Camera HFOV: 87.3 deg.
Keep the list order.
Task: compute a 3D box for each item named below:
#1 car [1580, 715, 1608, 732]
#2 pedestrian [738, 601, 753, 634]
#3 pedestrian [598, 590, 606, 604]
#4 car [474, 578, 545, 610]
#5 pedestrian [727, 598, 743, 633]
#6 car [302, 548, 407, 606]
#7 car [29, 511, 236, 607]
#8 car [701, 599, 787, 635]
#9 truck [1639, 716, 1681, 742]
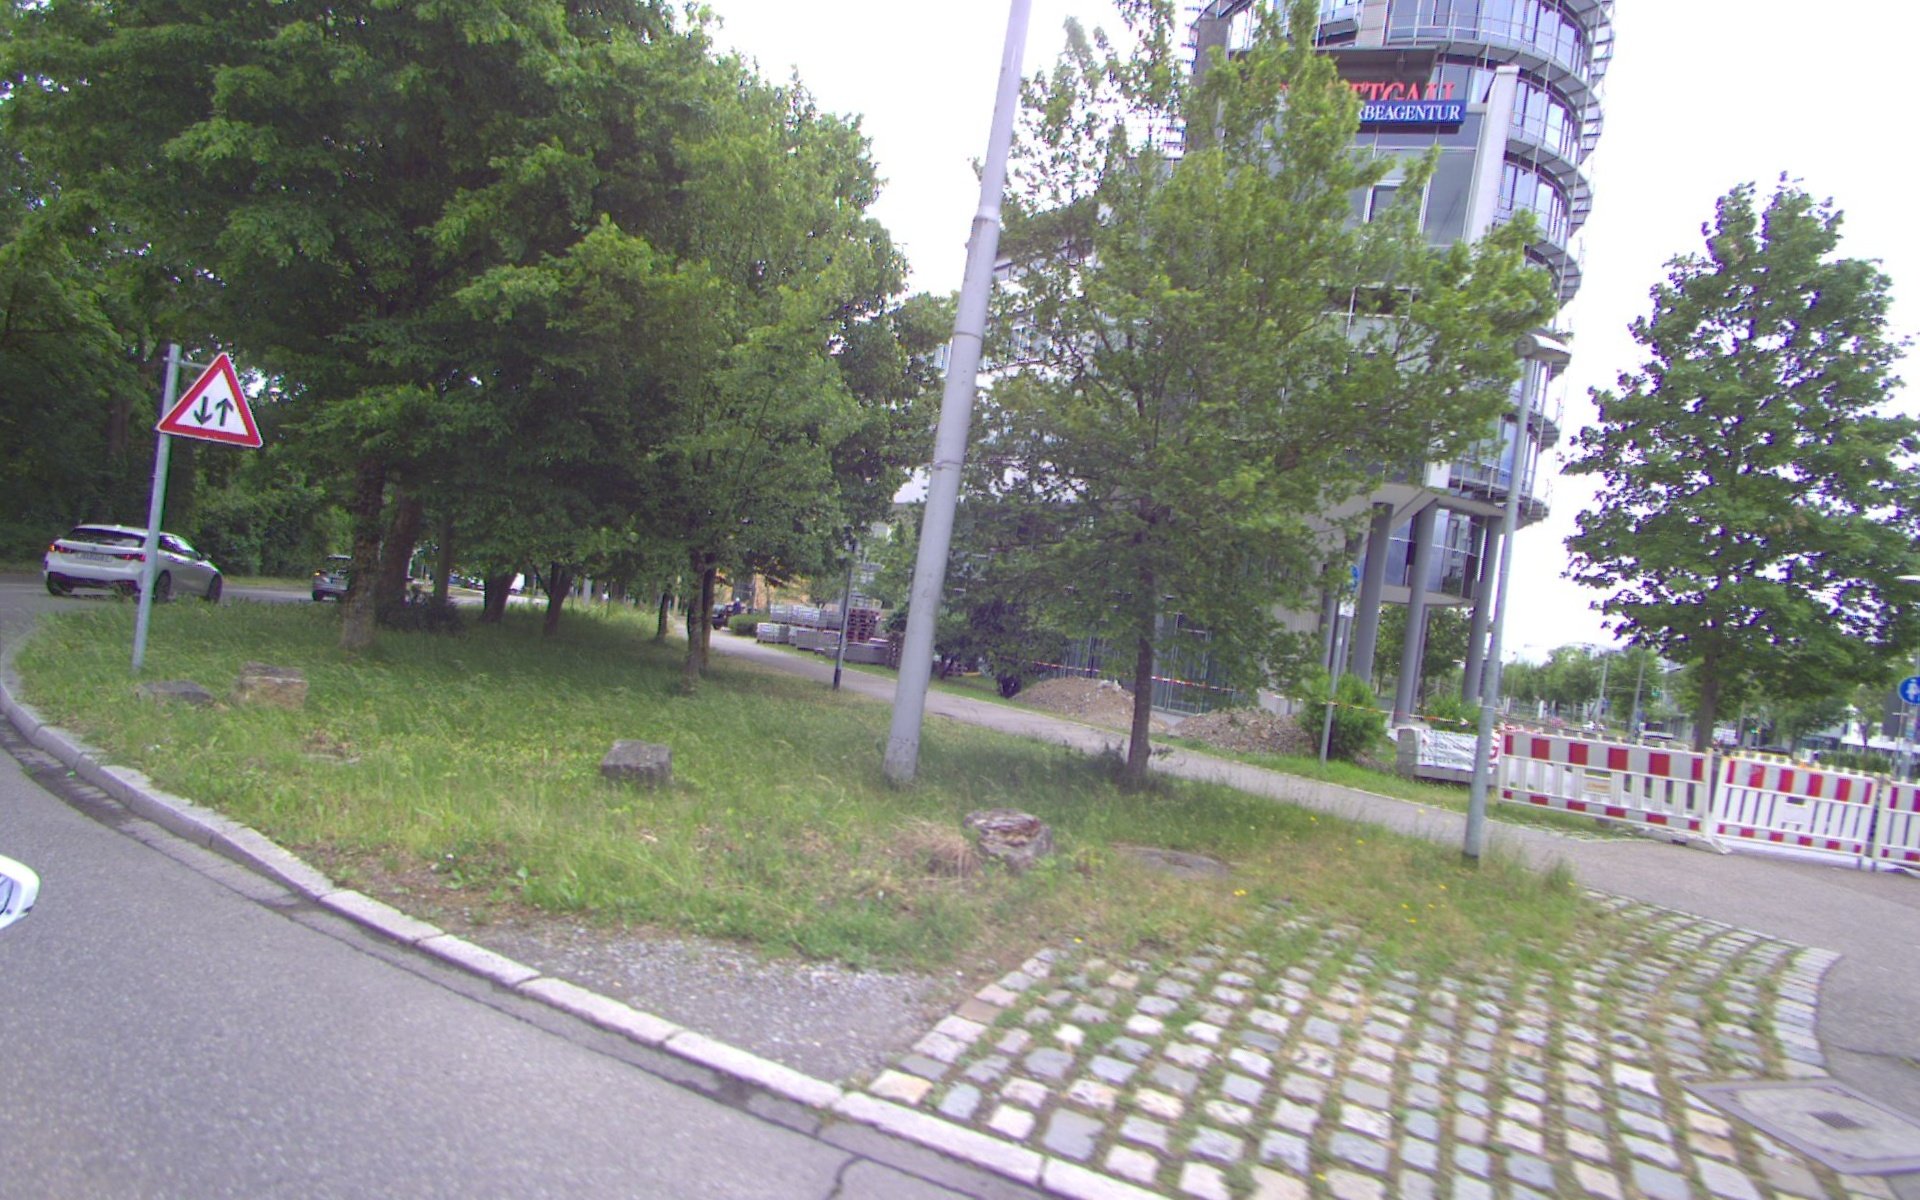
[{"bbox_3d":[82.576,16.098,131.071,1.841,1.692,3.893,9,-2,16],"label":"car"},{"bbox_3d":[-11.678,0.941,54.796,0.495,1.749,0.530,3,4,-43],"label":"pedestrian"},{"bbox_3d":[-50.031,-0.420,140.635,0.912,1.897,1.015,4,3,-17],"label":"pedestrian"},{"bbox_3d":[-51.410,-0.652,114.913,2.054,2.550,6.960,9,-2,39],"label":"car"},{"bbox_3d":[-12.119,0.832,54.167,0.471,1.778,0.577,3,4,-43],"label":"pedestrian"},{"bbox_3d":[-20.360,-0.708,34.023,1.900,1.592,3.989,8,-2,-16],"label":"car"},{"bbox_3d":[-16.954,-0.744,20.894,1.776,1.534,4.193,8,-3,-19],"label":"car"},{"bbox_3d":[-12.050,0.985,56.333,1.841,1.534,4.734,4,-3,32],"label":"car"},{"bbox_3d":[77.475,14.253,111.395,2.516,2.402,4.595,9,-2,21],"label":"truck"}]
